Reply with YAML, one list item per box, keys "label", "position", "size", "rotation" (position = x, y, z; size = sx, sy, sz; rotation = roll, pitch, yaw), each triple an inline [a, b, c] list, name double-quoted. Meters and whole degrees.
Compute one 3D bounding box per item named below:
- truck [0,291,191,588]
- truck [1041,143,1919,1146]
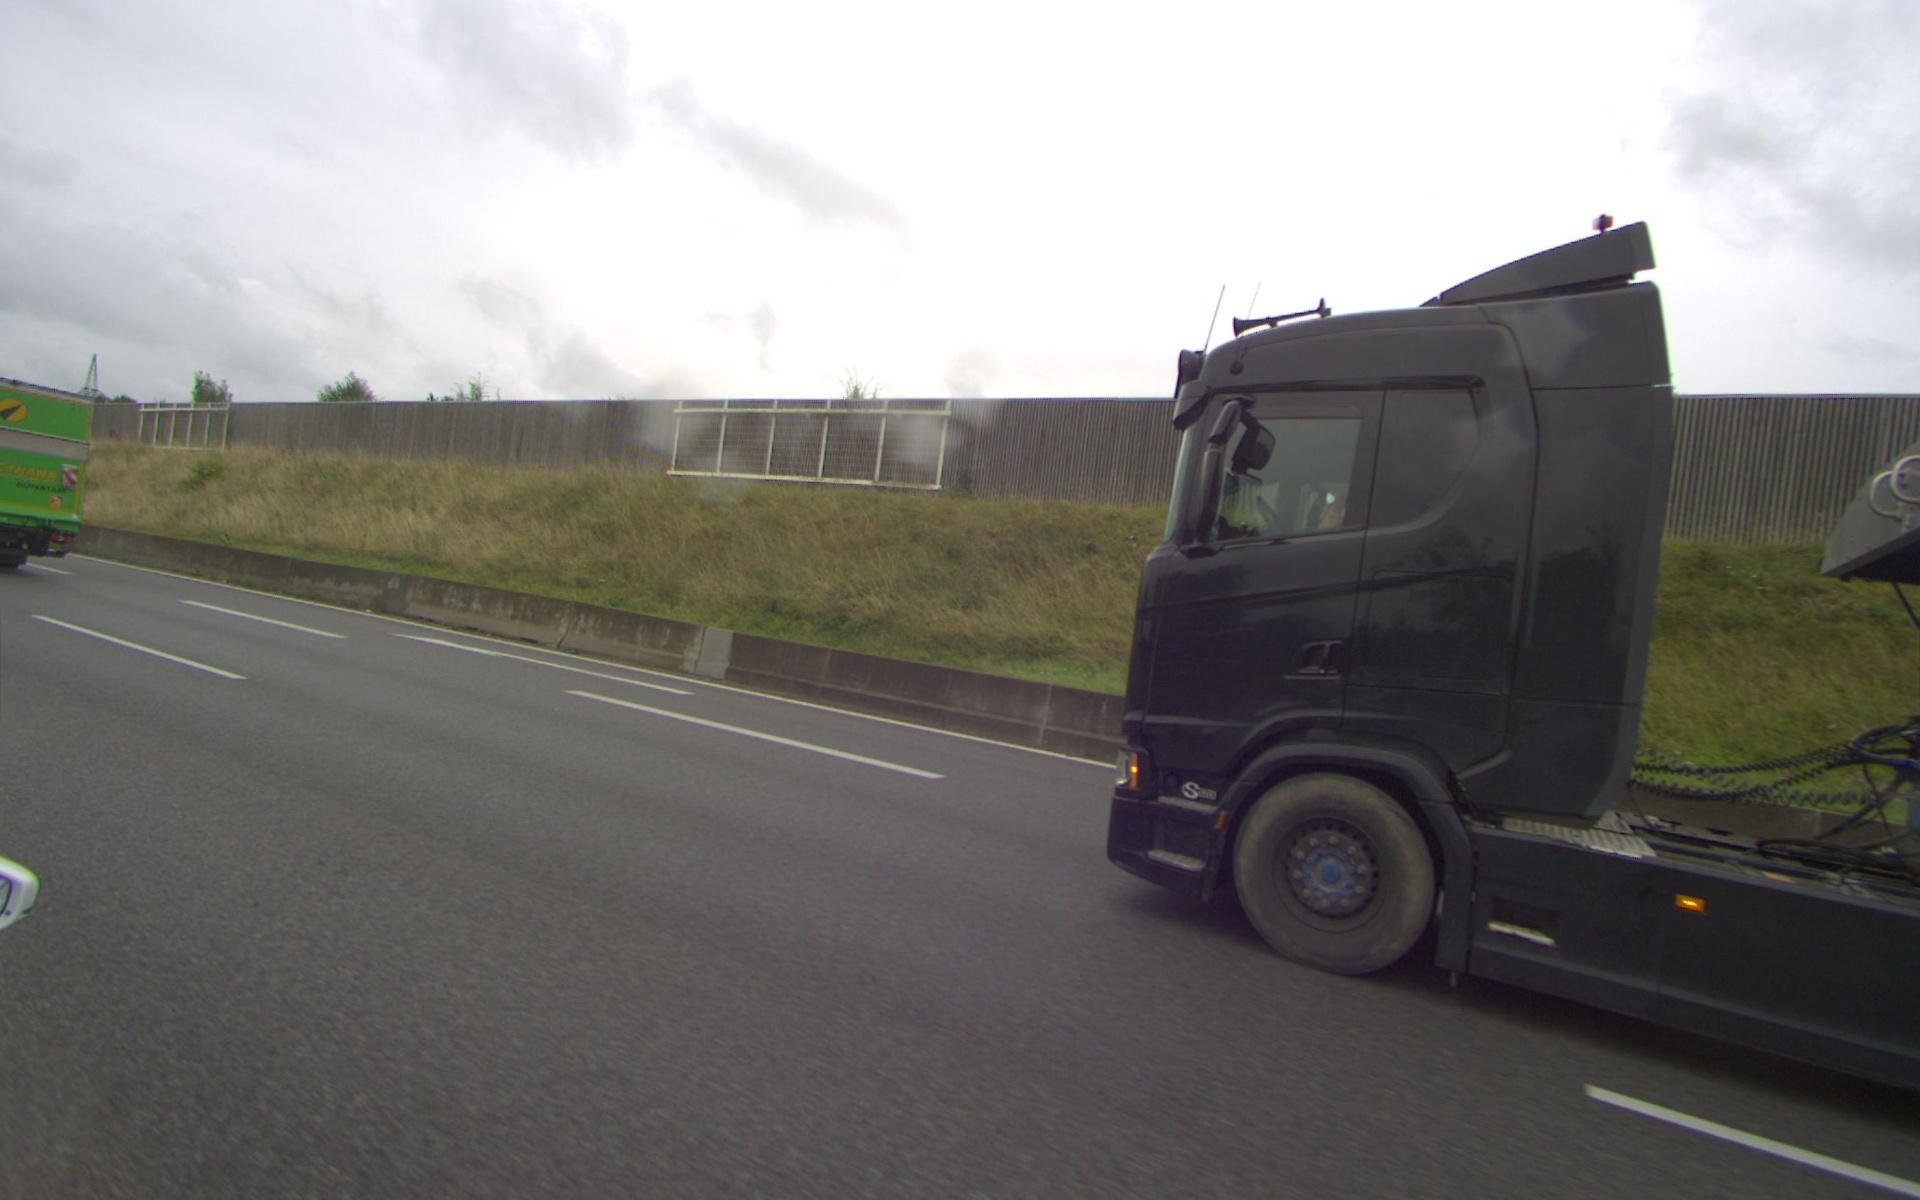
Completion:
- label: "truck"
  position: [-22.647, -3.641, 22.962]
  size: [11.035, 5.326, 4.005]
  rotation: [7, -2, 32]
- label: "truck"
  position: [6.759, 0.520, 3.934]
  size: [12.498, 3.997, 2.818]
  rotation: [7, -1, 30]
